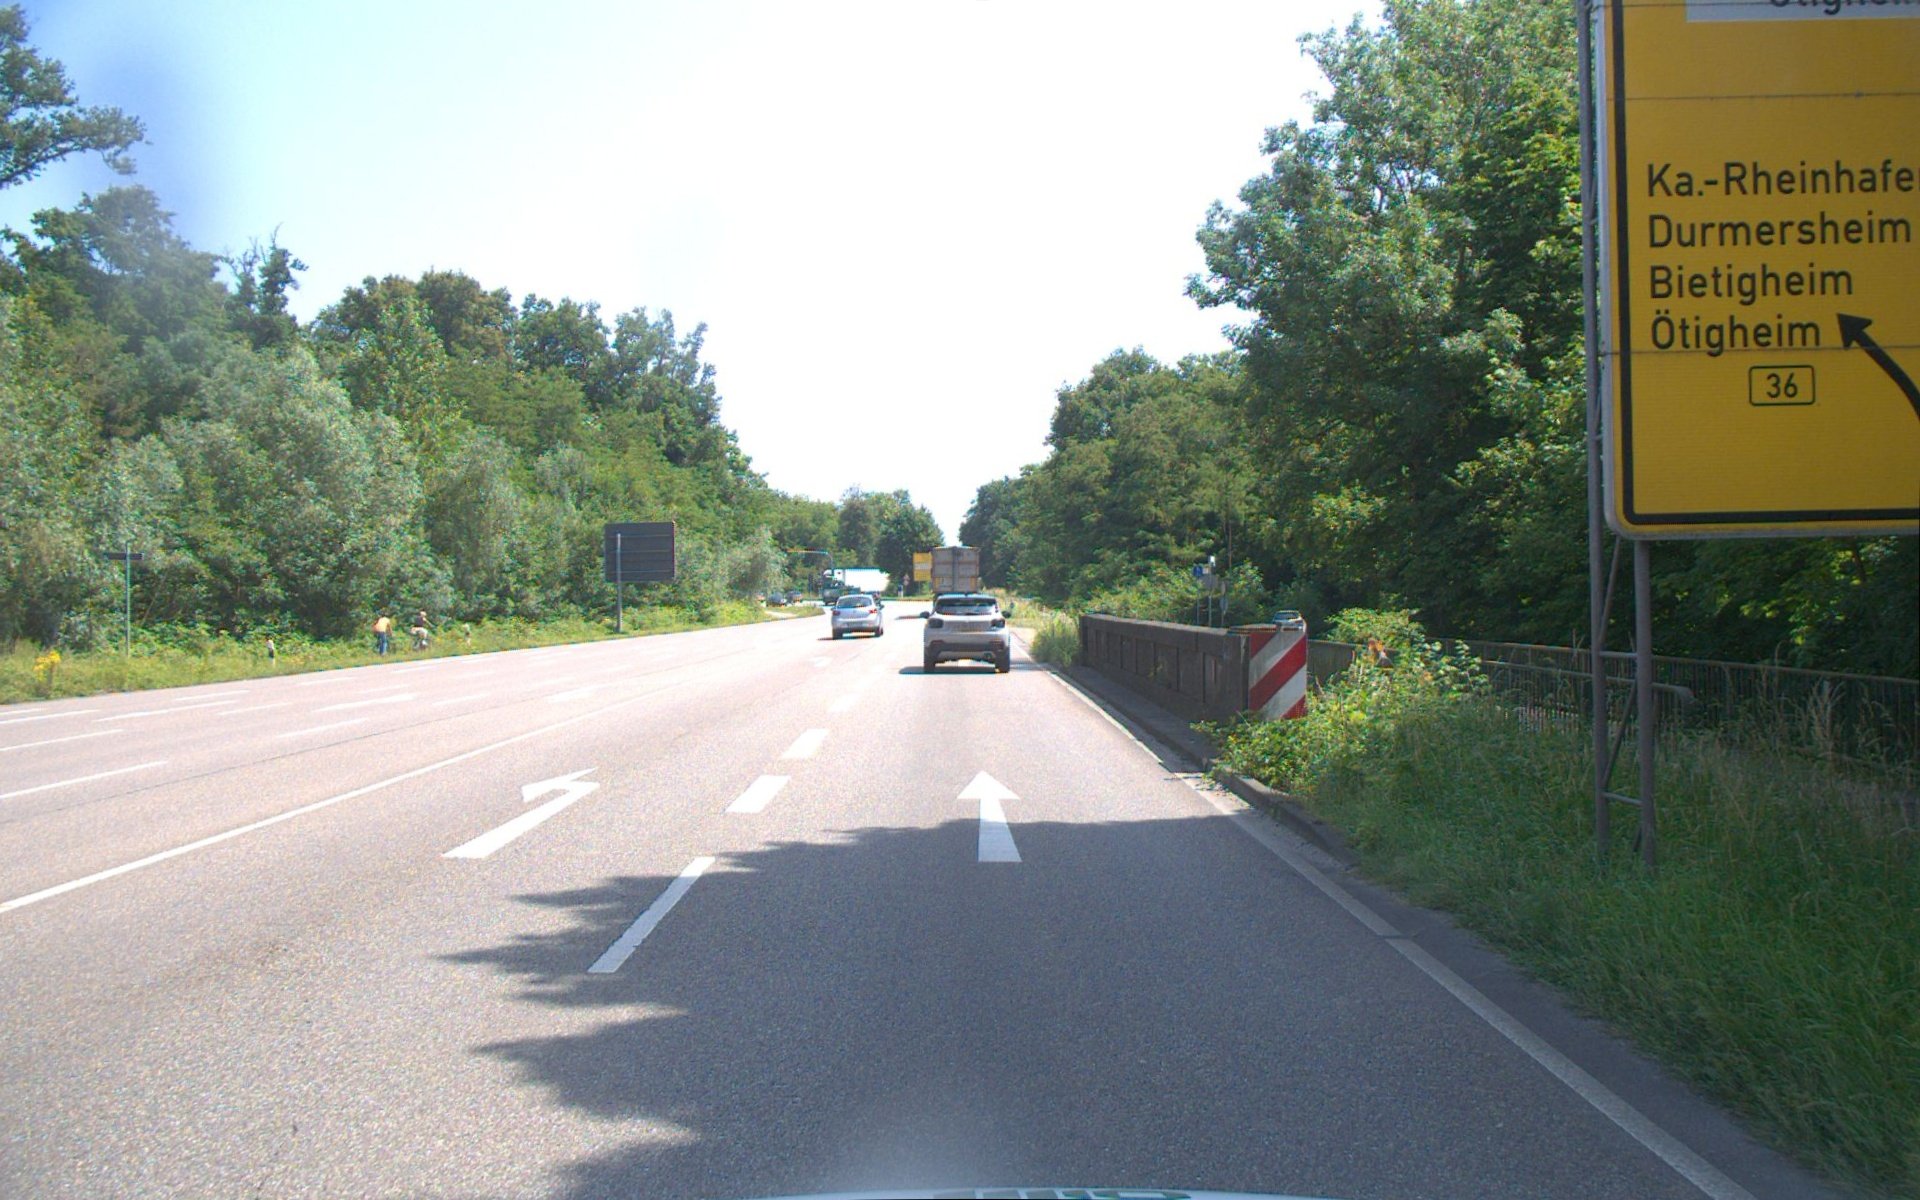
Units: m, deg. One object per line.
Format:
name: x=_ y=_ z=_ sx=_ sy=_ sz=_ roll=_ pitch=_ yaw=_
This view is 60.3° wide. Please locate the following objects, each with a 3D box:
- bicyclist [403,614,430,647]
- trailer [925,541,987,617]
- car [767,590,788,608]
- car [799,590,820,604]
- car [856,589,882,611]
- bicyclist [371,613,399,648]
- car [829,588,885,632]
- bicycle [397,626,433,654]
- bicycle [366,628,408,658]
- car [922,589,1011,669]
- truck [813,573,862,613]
bicyclist: x=-20.680 y=1.156 z=62.925 sx=0.719 sy=1.216 sz=0.592 roll=-2 pitch=-1 yaw=11
trailer: x=-0.224 y=-1.080 z=93.560 sx=3.313 sy=4.058 sz=10.802 roll=0 pitch=0 yaw=0
car: x=-20.913 y=-0.115 z=189.026 sx=1.958 sy=1.914 sz=3.988 roll=-2 pitch=0 yaw=-12
car: x=-17.887 y=-0.366 z=196.852 sx=1.960 sy=1.613 sz=3.985 roll=0 pitch=0 yaw=-14
car: x=-8.995 y=0.001 z=163.576 sx=1.958 sy=2.049 sz=4.541 roll=-2 pitch=0 yaw=-11
bicyclist: x=-20.898 y=1.097 z=60.130 sx=0.741 sy=1.216 sz=0.592 roll=-2 pitch=0 yaw=10
car: x=-3.490 y=0.318 z=56.696 sx=1.631 sy=1.455 sz=3.828 roll=0 pitch=0 yaw=0
bicycle: x=-20.690 y=1.510 z=62.840 sx=0.591 sy=1.023 sz=1.557 roll=-2 pitch=0 yaw=11
bicycle: x=-20.862 y=1.558 z=60.253 sx=0.661 sy=1.022 sz=1.802 roll=-2 pitch=0 yaw=9
car: x=0.148 y=0.562 z=34.306 sx=1.731 sy=1.561 sz=4.000 roll=0 pitch=0 yaw=0
truck: x=-13.412 y=-0.737 z=180.305 sx=3.587 sy=4.177 sz=9.466 roll=0 pitch=0 yaw=-16
